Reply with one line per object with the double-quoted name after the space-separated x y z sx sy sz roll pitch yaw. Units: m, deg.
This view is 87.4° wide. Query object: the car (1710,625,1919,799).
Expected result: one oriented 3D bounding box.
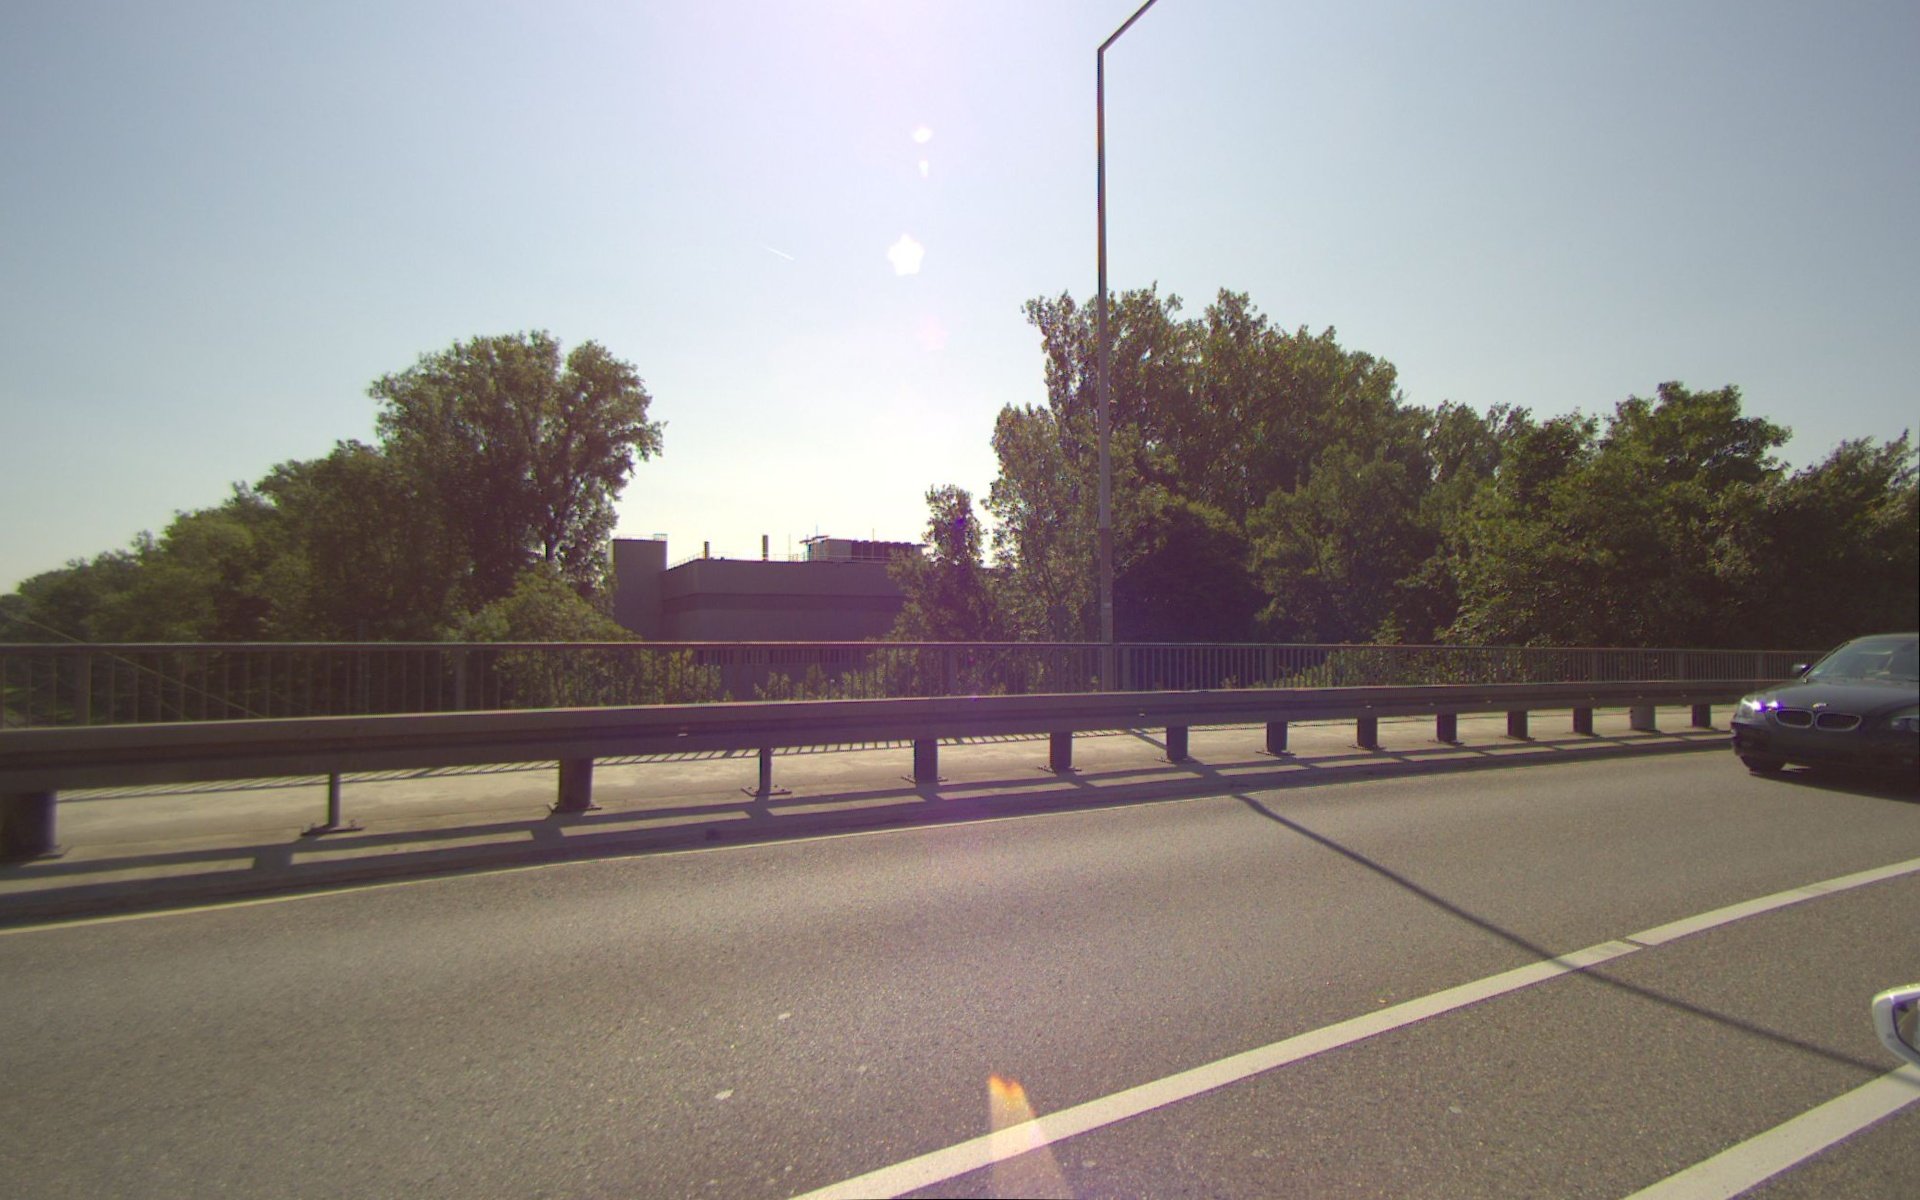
9.989 1.026 10.385 4.458 1.461 1.848 1 0 -28 "car"
